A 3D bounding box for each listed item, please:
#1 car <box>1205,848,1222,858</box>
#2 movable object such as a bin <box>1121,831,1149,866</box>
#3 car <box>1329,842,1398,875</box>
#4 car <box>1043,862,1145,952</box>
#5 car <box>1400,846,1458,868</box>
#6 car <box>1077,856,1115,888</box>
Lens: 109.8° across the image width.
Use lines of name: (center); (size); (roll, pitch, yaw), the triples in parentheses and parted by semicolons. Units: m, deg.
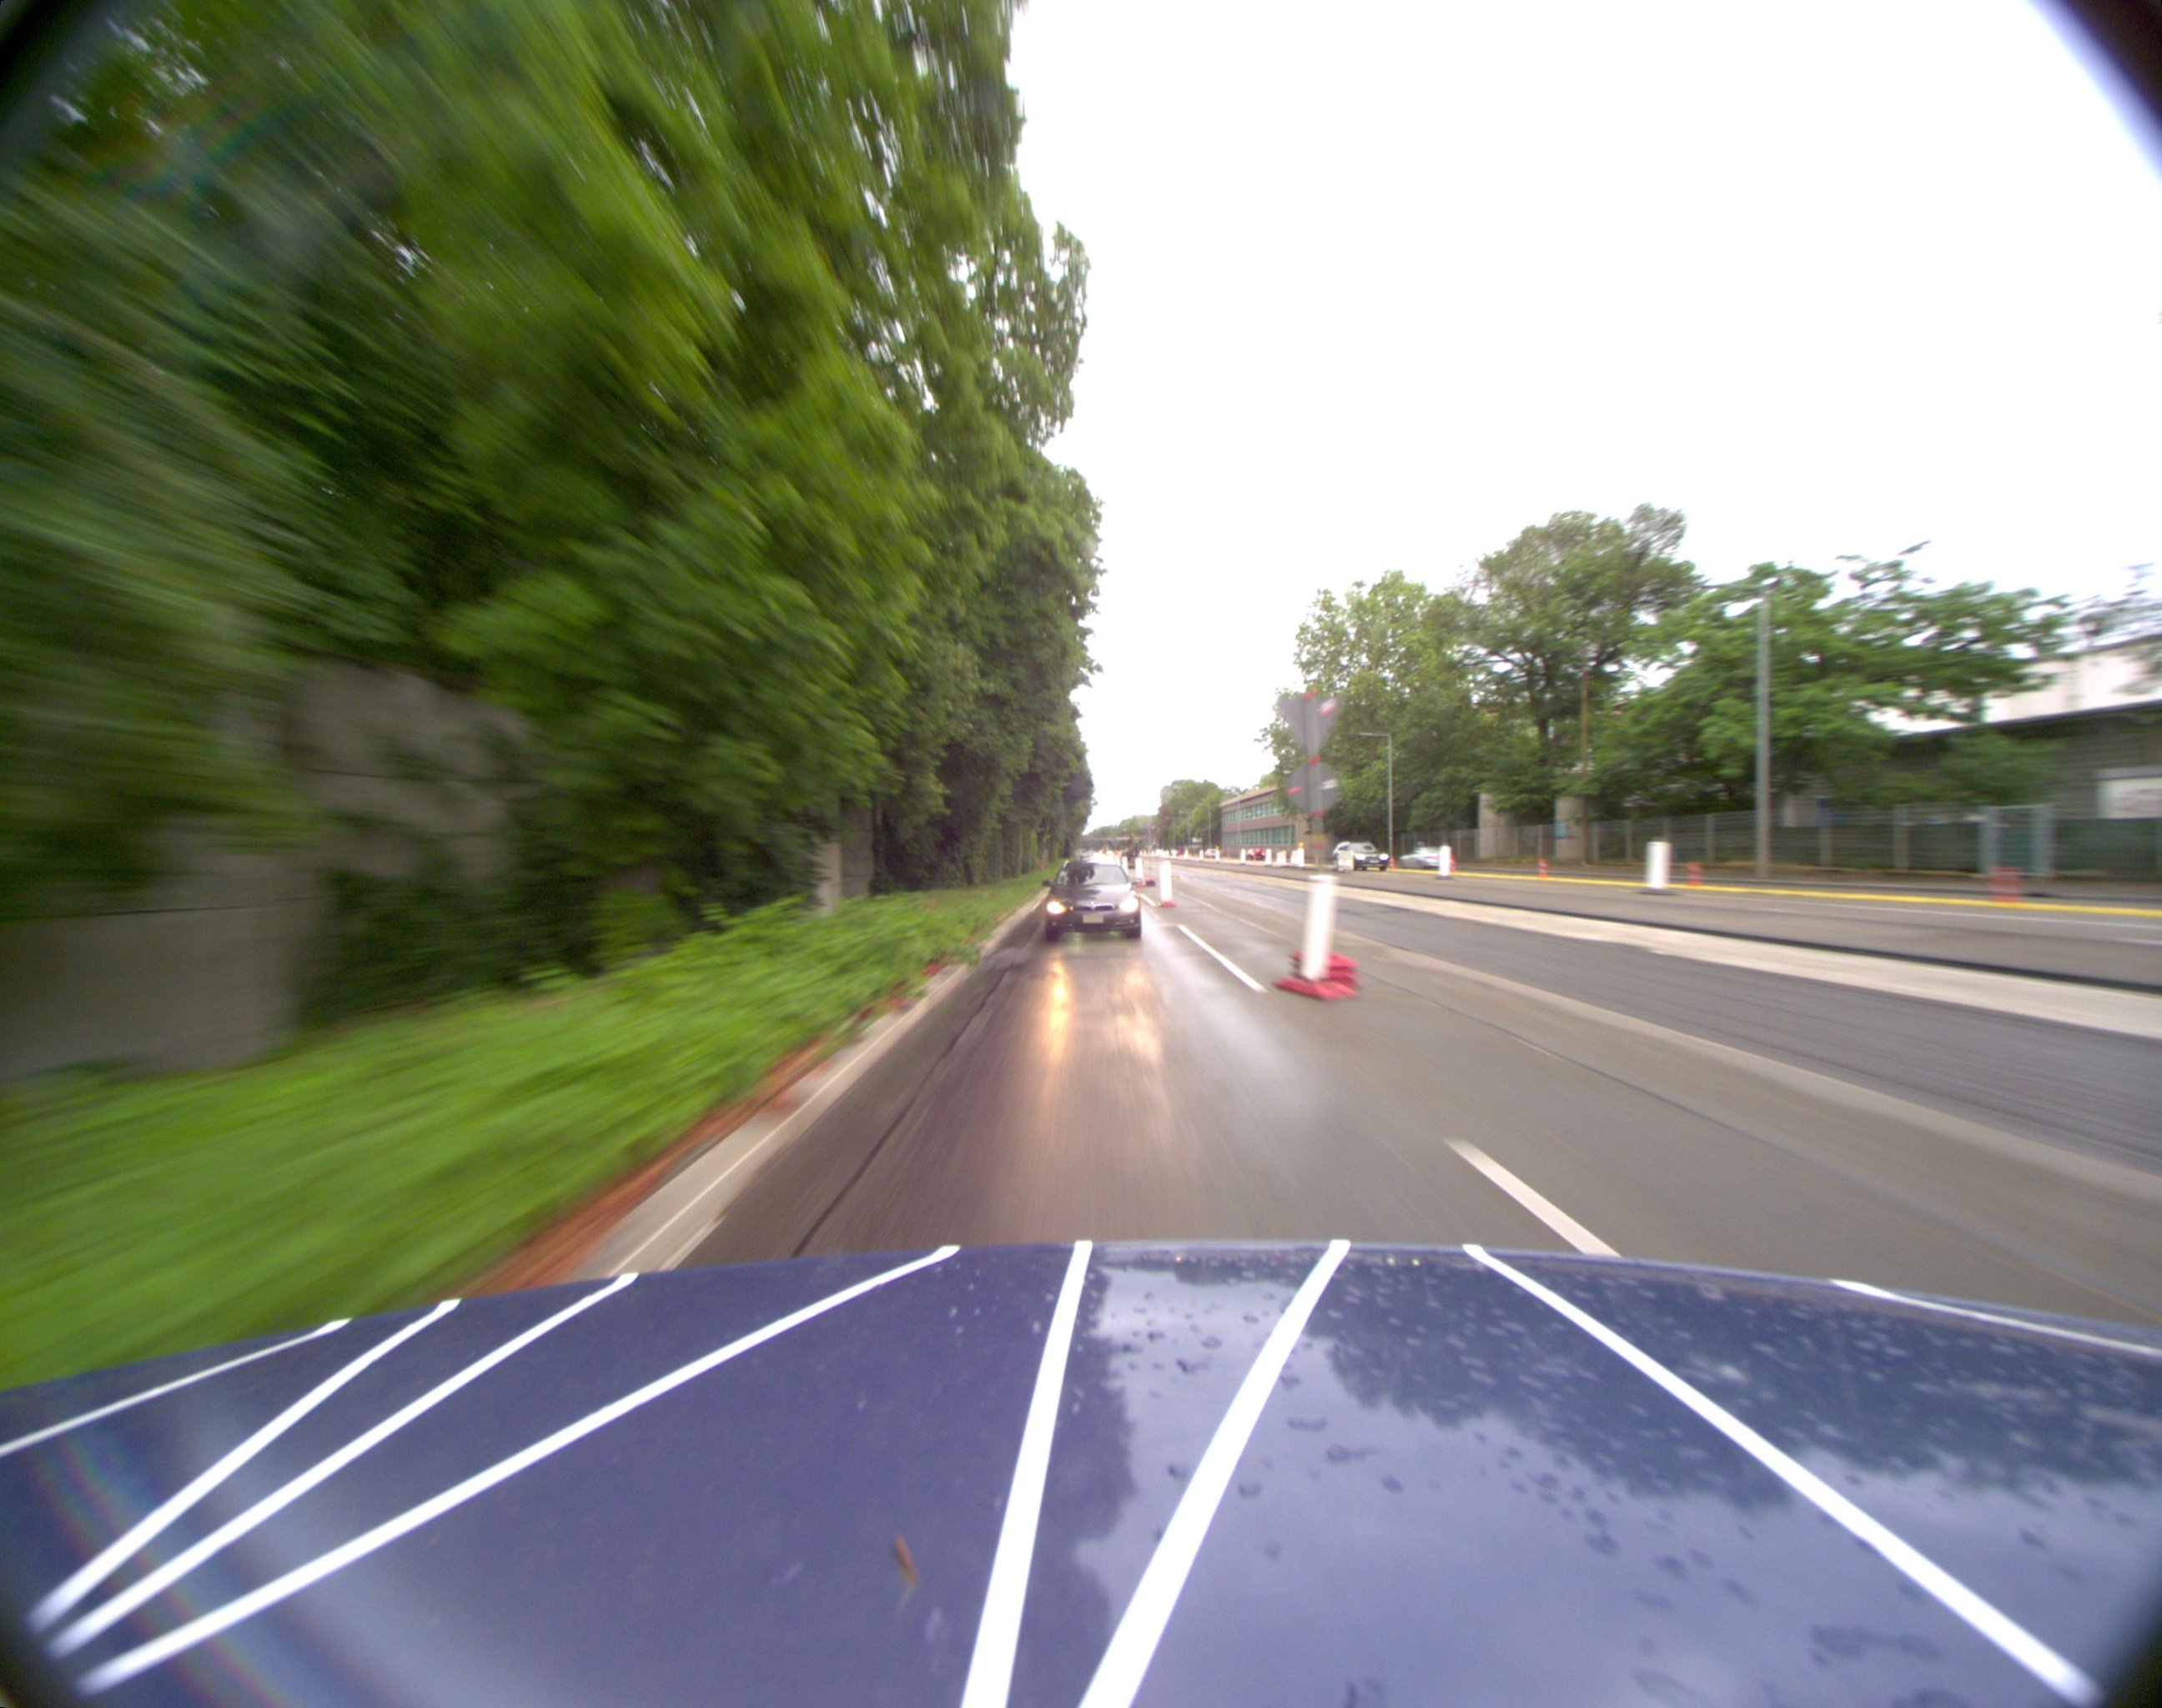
car: (19.999, -0.138, 114.519); (1.841, 1.426, 4.148); (-1, 1, 1)
movable object such as a bin: (5.009, -0.489, 70.917); (1.999, 3.084, 5.622); (-1, 1, -2)
car: (15.999, 0.240, 43.348); (1.999, 1.696, 4.984); (2, 0, -1)
car: (0.268, 0.951, 15.526); (1.742, 1.454, 4.458); (-1, 1, 1)
car: (21.727, 0.180, 47.682); (1.671, 1.307, 4.455); (1, 1, 1)
car: (0.758, 0.856, 38.362); (1.742, 1.454, 4.458); (-1, 1, 1)
